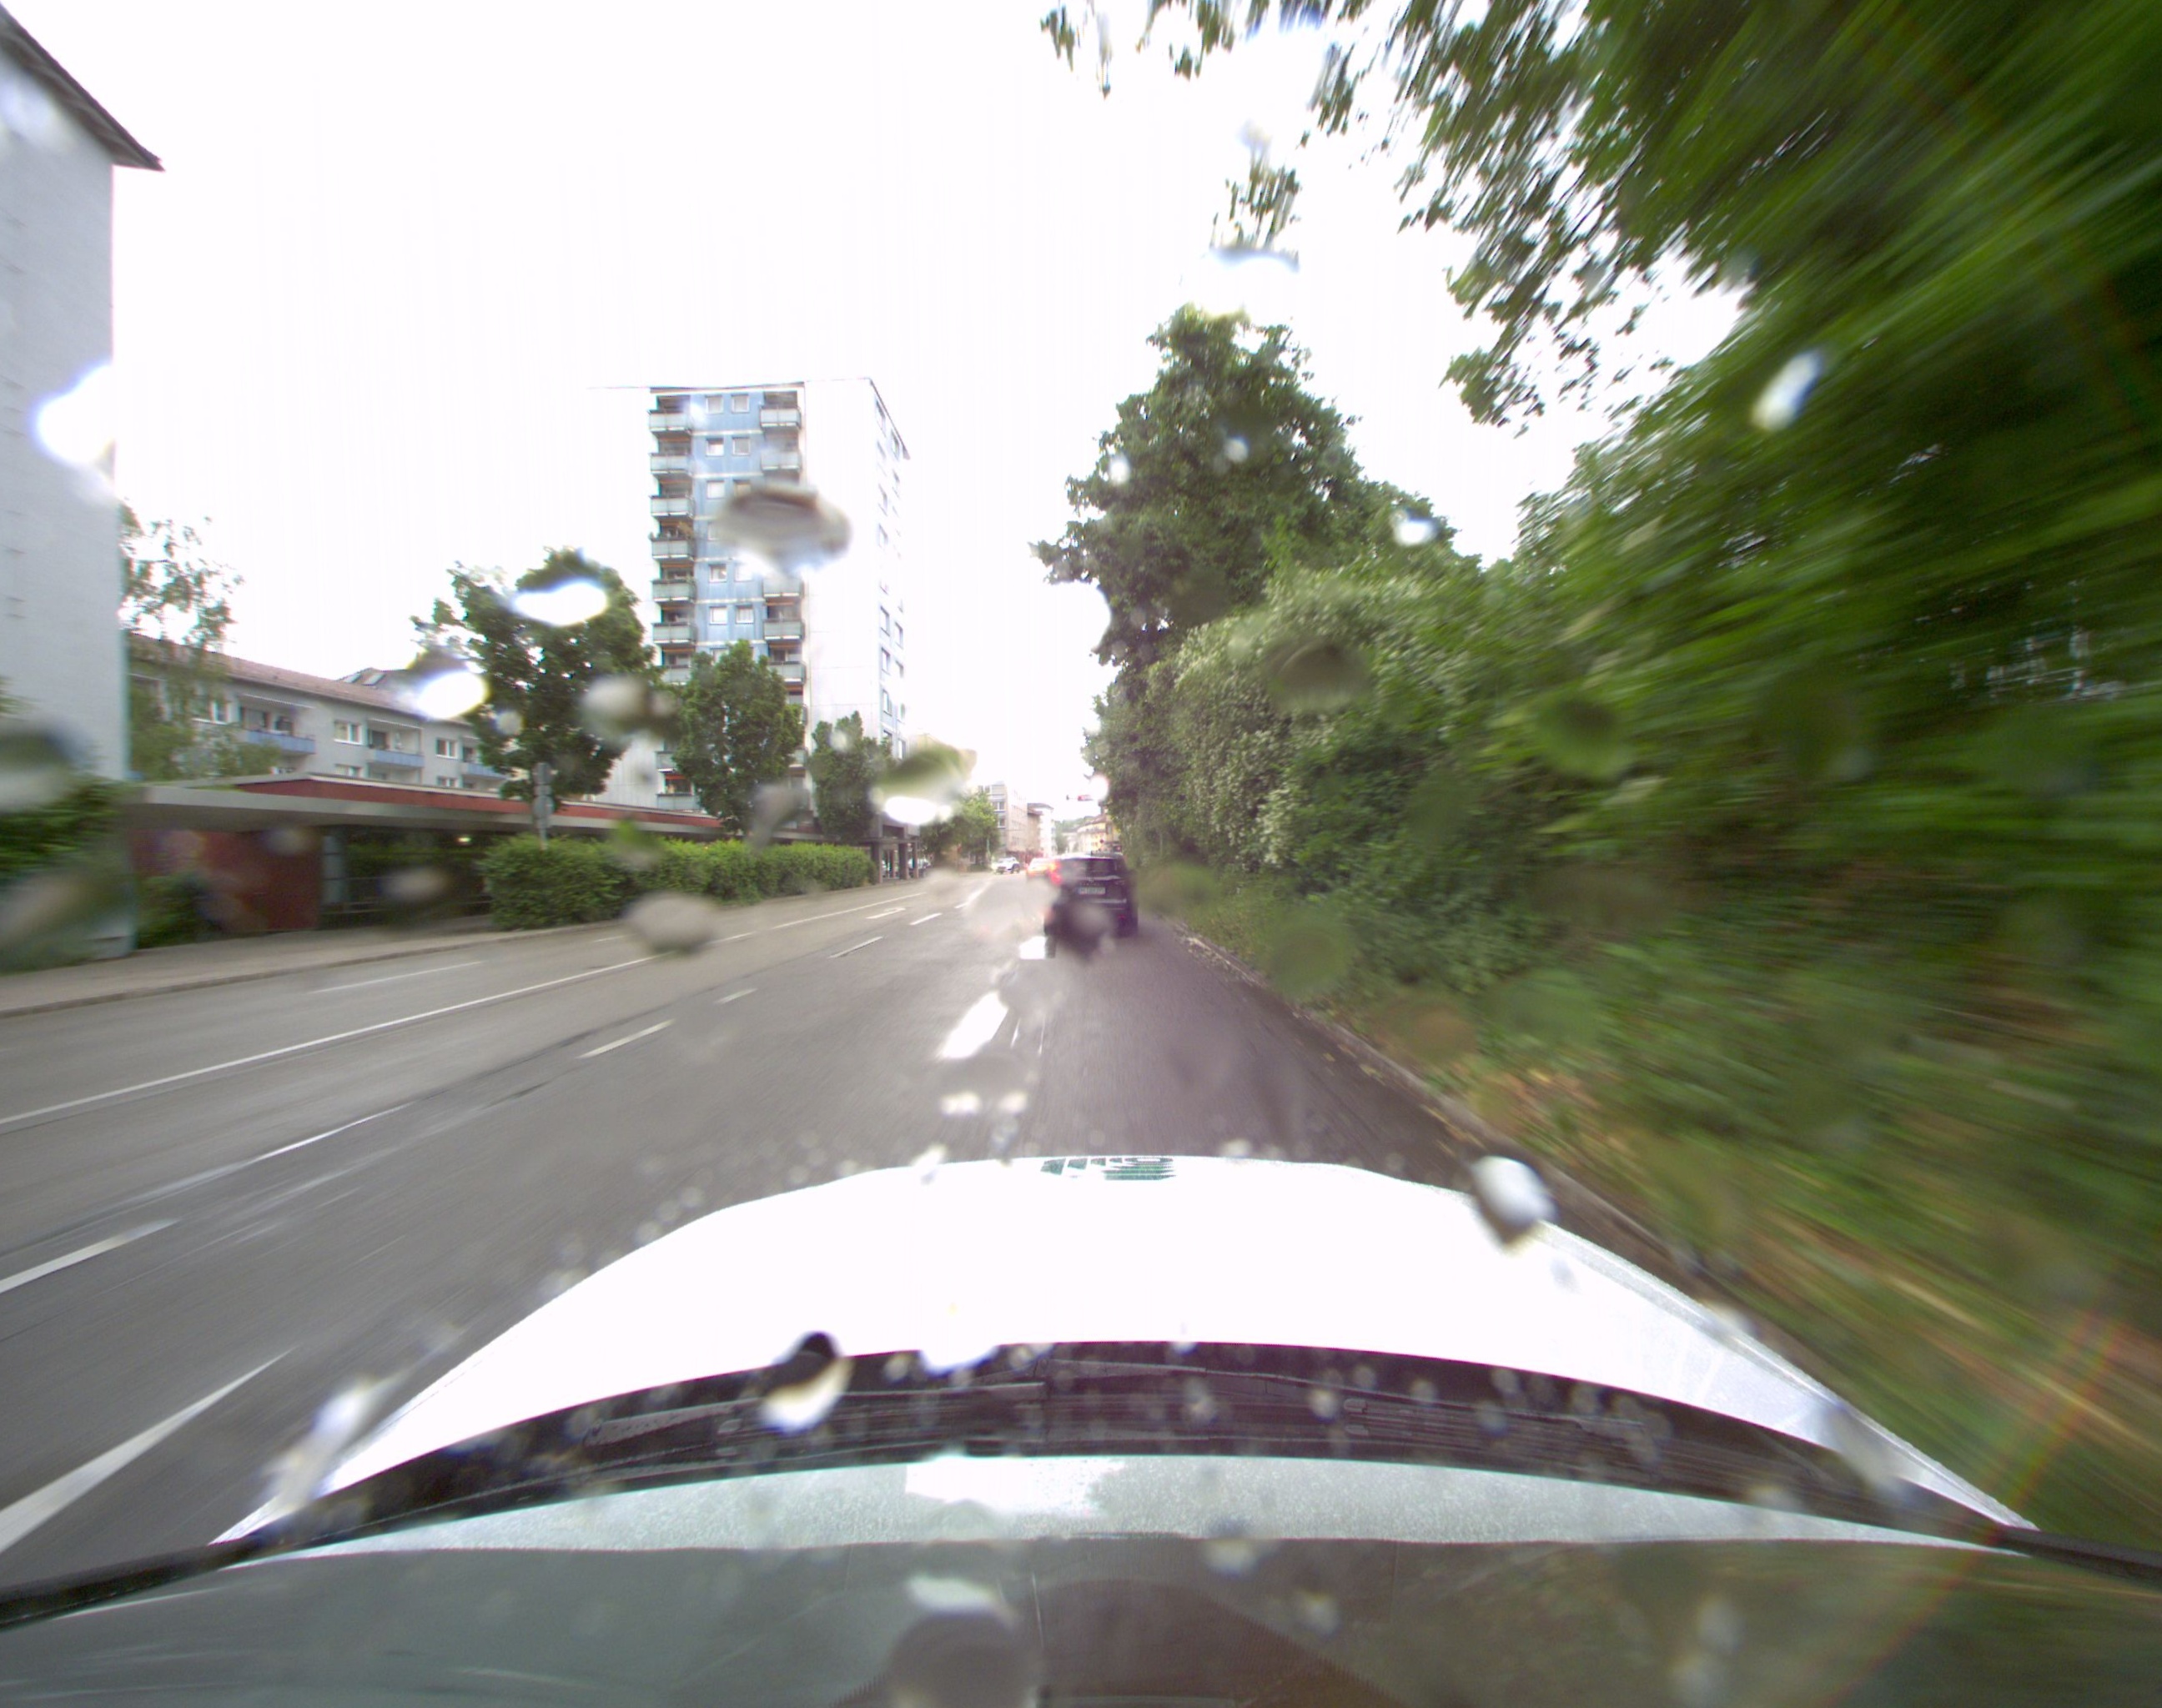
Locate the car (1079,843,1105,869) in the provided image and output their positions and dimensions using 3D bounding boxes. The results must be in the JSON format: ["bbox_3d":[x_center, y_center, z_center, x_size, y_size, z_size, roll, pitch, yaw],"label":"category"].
[{"bbox_3d":[0.940,0.132,66.483,1.986,2.013,4.002,-2,0,2],"label":"car"}]

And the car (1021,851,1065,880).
[{"bbox_3d":[-2.052,0.589,45.177,2.058,1.464,4.588,-2,0,2],"label":"car"}]

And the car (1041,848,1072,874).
[{"bbox_3d":[-1.523,0.416,51.992,1.738,1.487,4.162,-2,0,1],"label":"car"}]

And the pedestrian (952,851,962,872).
[{"bbox_3d":[-12.589,0.773,82.617,0.940,2.013,0.884,-3,0,-8],"label":"pedestrian"}]

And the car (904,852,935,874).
[{"bbox_3d":[-13.355,0.703,67.477,1.533,1.706,4.289,-1,0,1],"label":"car"}]

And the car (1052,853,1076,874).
[{"bbox_3d":[-1.182,0.667,58.960,1.607,1.420,3.966,-1,0,0],"label":"car"}]

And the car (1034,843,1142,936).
[{"bbox_3d":[0.136,0.639,17.014,1.953,1.652,4.000,-2,0,0],"label":"car"}]

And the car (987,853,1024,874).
[{"bbox_3d":[-6.974,0.822,75.695,1.981,1.750,4.822,-2,0,11],"label":"car"}]
